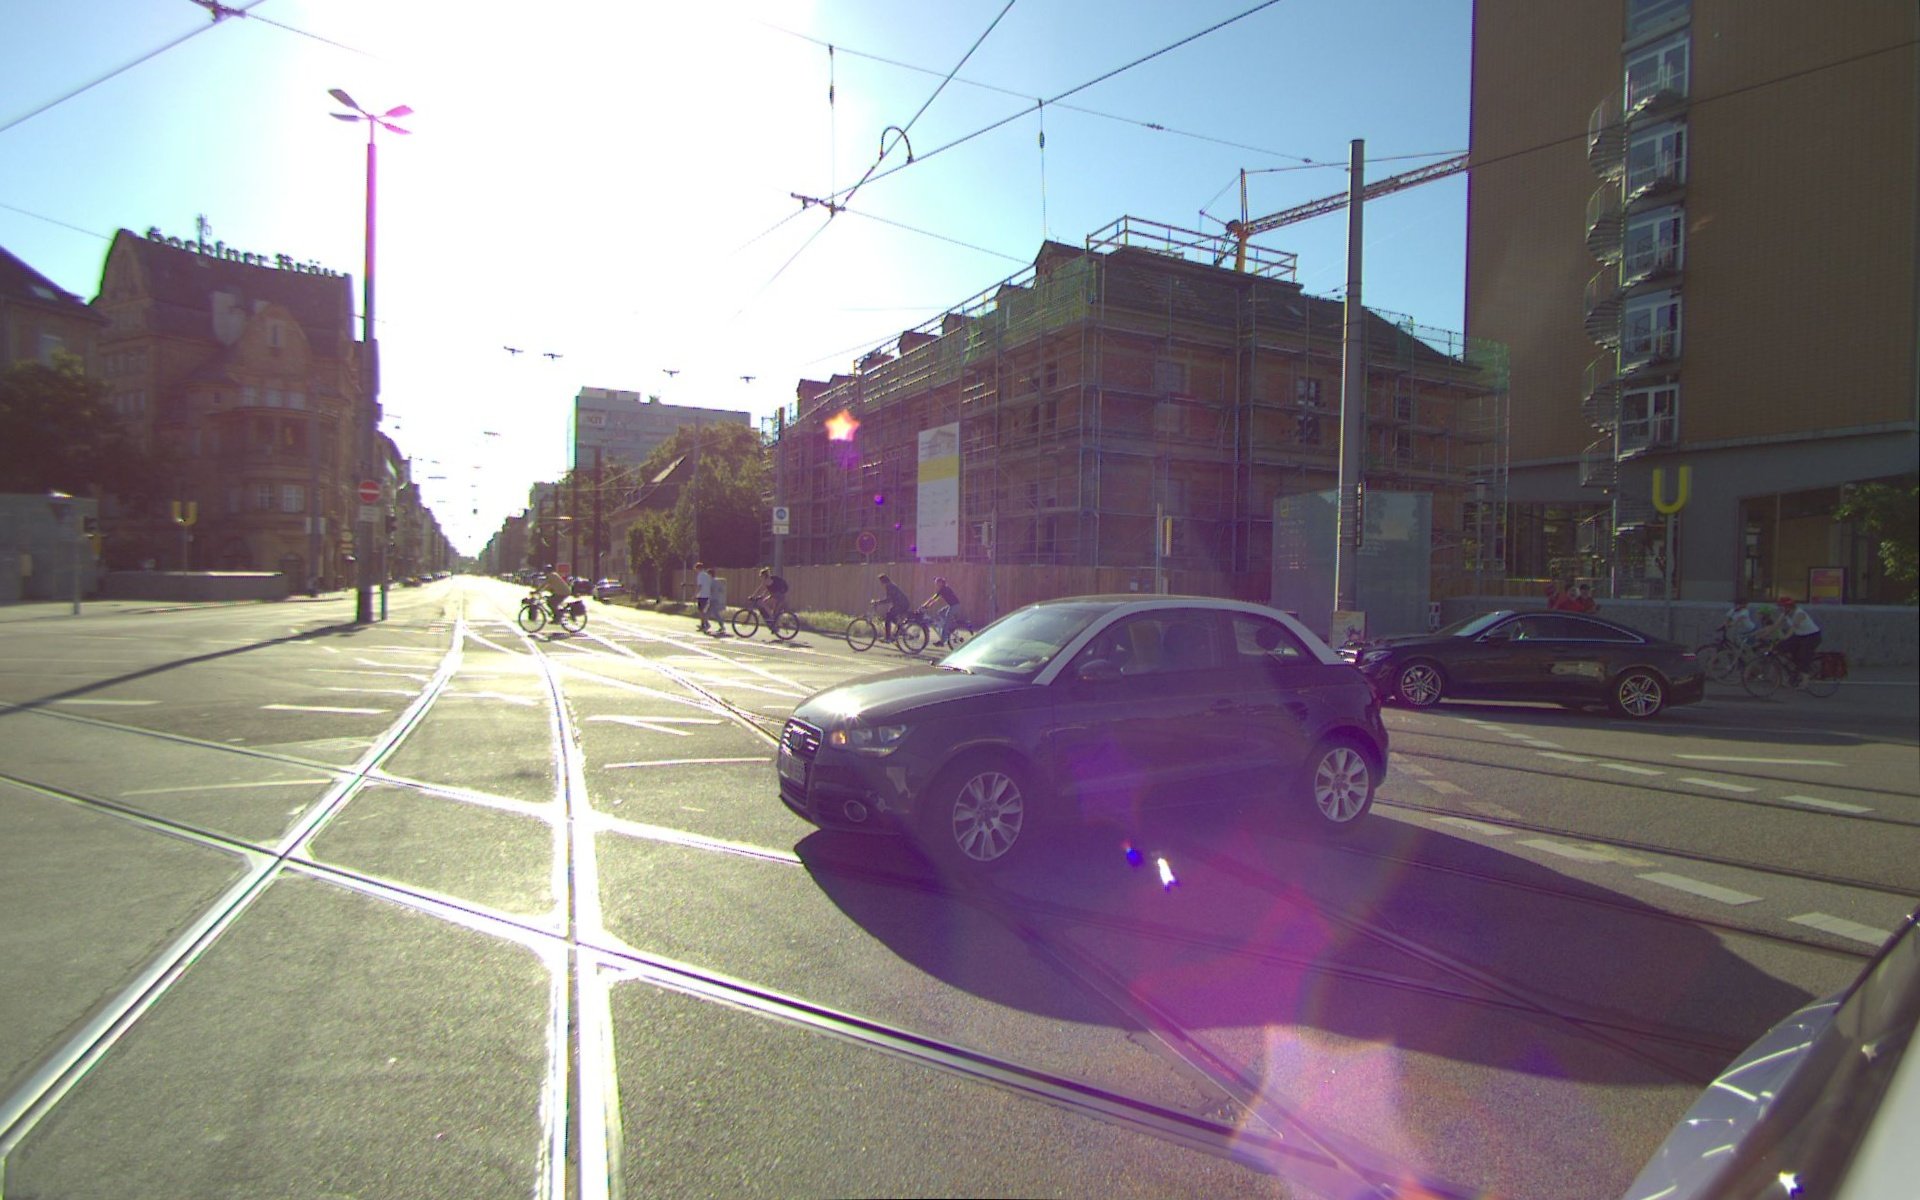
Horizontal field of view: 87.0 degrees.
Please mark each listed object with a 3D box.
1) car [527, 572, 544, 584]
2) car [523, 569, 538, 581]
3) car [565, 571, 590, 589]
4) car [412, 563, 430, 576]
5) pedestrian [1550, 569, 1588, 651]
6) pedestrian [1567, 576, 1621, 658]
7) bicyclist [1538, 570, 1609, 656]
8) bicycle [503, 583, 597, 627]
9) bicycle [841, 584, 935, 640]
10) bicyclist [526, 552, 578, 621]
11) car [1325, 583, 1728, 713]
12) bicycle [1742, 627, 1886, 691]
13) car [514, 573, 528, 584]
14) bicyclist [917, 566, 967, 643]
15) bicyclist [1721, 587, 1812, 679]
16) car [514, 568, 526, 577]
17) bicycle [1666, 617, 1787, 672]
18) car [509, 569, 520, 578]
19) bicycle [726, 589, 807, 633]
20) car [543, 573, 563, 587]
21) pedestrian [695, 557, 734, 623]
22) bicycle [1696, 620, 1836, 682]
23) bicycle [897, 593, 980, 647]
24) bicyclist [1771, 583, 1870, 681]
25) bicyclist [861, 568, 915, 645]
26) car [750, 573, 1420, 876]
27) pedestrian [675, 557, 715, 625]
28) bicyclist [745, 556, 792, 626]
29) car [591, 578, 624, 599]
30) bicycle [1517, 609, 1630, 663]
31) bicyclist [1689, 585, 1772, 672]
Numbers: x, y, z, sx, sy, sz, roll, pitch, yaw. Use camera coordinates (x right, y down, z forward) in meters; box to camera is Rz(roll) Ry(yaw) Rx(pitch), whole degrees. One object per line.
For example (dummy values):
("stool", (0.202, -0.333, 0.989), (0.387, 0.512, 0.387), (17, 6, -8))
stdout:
("car", (-54.494, -2.830, 129.877), (1.720, 1.482, 4.025), (0, 0, -27))
("car", (-60.531, -3.516, 142.728), (1.720, 1.482, 4.025), (0, 0, -27))
("car", (-34.298, -1.788, 90.622), (1.720, 1.482, 4.025), (0, 0, -27))
("car", (-88.934, -5.005, 167.021), (1.962, 2.040, 3.998), (3, -2, -36))
("pedestrian", (13.405, 0.204, 22.301), (0.616, 1.760, 0.659), (2, 2, 28))
("pedestrian", (14.025, 0.356, 22.409), (0.718, 1.760, 0.623), (1, 2, -3))
("bicyclist", (12.954, 0.259, 21.399), (1.000, 1.728, 0.693), (2, 4, 9))
("bicycle", (-10.434, 0.132, 25.768), (2.067, 1.040, 0.767), (2, 0, 4))
("bicycle", (-1.532, 0.259, 21.535), (1.877, 1.138, 0.644), (1, -2, 17))
("bicyclist", (-10.382, -0.342, 25.770), (0.957, 1.717, 0.767), (2, 0, 3))
("car", (7.792, 0.635, 14.318), (4.572, 1.511, 1.815), (2, -1, 5))
("bicycle", (14.837, 1.023, 17.607), (1.843, 0.981, 0.713), (1, 4, -2))
("car", (-69.990, -3.382, 161.302), (1.720, 1.626, 4.025), (0, 0, -27))
("bicyclist", (-0.401, 0.111, 22.666), (0.959, 1.683, 0.646), (1, -2, 11))
("bicyclist", (14.964, 0.592, 18.795), (1.000, 1.606, 0.693), (2, 4, 9))
("car", (-74.698, -4.647, 171.807), (1.720, 1.482, 4.025), (0, 0, -27))
("bicycle", (14.980, 0.869, 19.801), (1.842, 0.981, 0.714), (1, 4, -7))
("car", (-82.287, -4.848, 186.810), (1.720, 1.482, 4.025), (0, 0, -27))
("bicycle", (-4.865, 0.276, 25.478), (1.875, 1.040, 0.646), (2, 0, 9))
("car", (-45.570, -2.232, 113.293), (1.720, 1.482, 4.025), (0, 0, -27))
("pedestrian", (-7.078, -0.274, 29.212), (0.813, 1.873, 0.683), (0, -2, 32))
("bicycle", (14.950, 0.937, 18.817), (1.849, 0.981, 0.711), (2, 4, 9))
("bicycle", (-0.467, 0.442, 22.665), (1.748, 1.138, 0.646), (1, -2, 11))
("bicyclist", (14.931, 0.536, 17.583), (0.997, 1.606, 0.695), (1, 4, -2))
("bicyclist", (-1.523, 0.133, 21.531), (0.961, 1.589, 0.644), (1, -2, 17))
("car", (0.769, 0.574, 6.244), (3.752, 1.405, 1.699), (1, 1, -24))
("pedestrian", (-7.486, -0.255, 28.603), (0.813, 1.873, 0.683), (0, -2, 32))
("bicyclist", (-4.807, -0.231, 25.470), (0.959, 1.717, 0.646), (2, 0, 9))
("car", (-25.666, -0.788, 73.617), (1.720, 1.482, 4.025), (0, 0, -27))
("bicycle", (12.943, 0.745, 21.416), (1.849, 0.981, 0.711), (2, 4, 9))
("bicyclist", (15.053, 0.551, 19.787), (0.996, 1.606, 0.695), (1, 4, -7))
